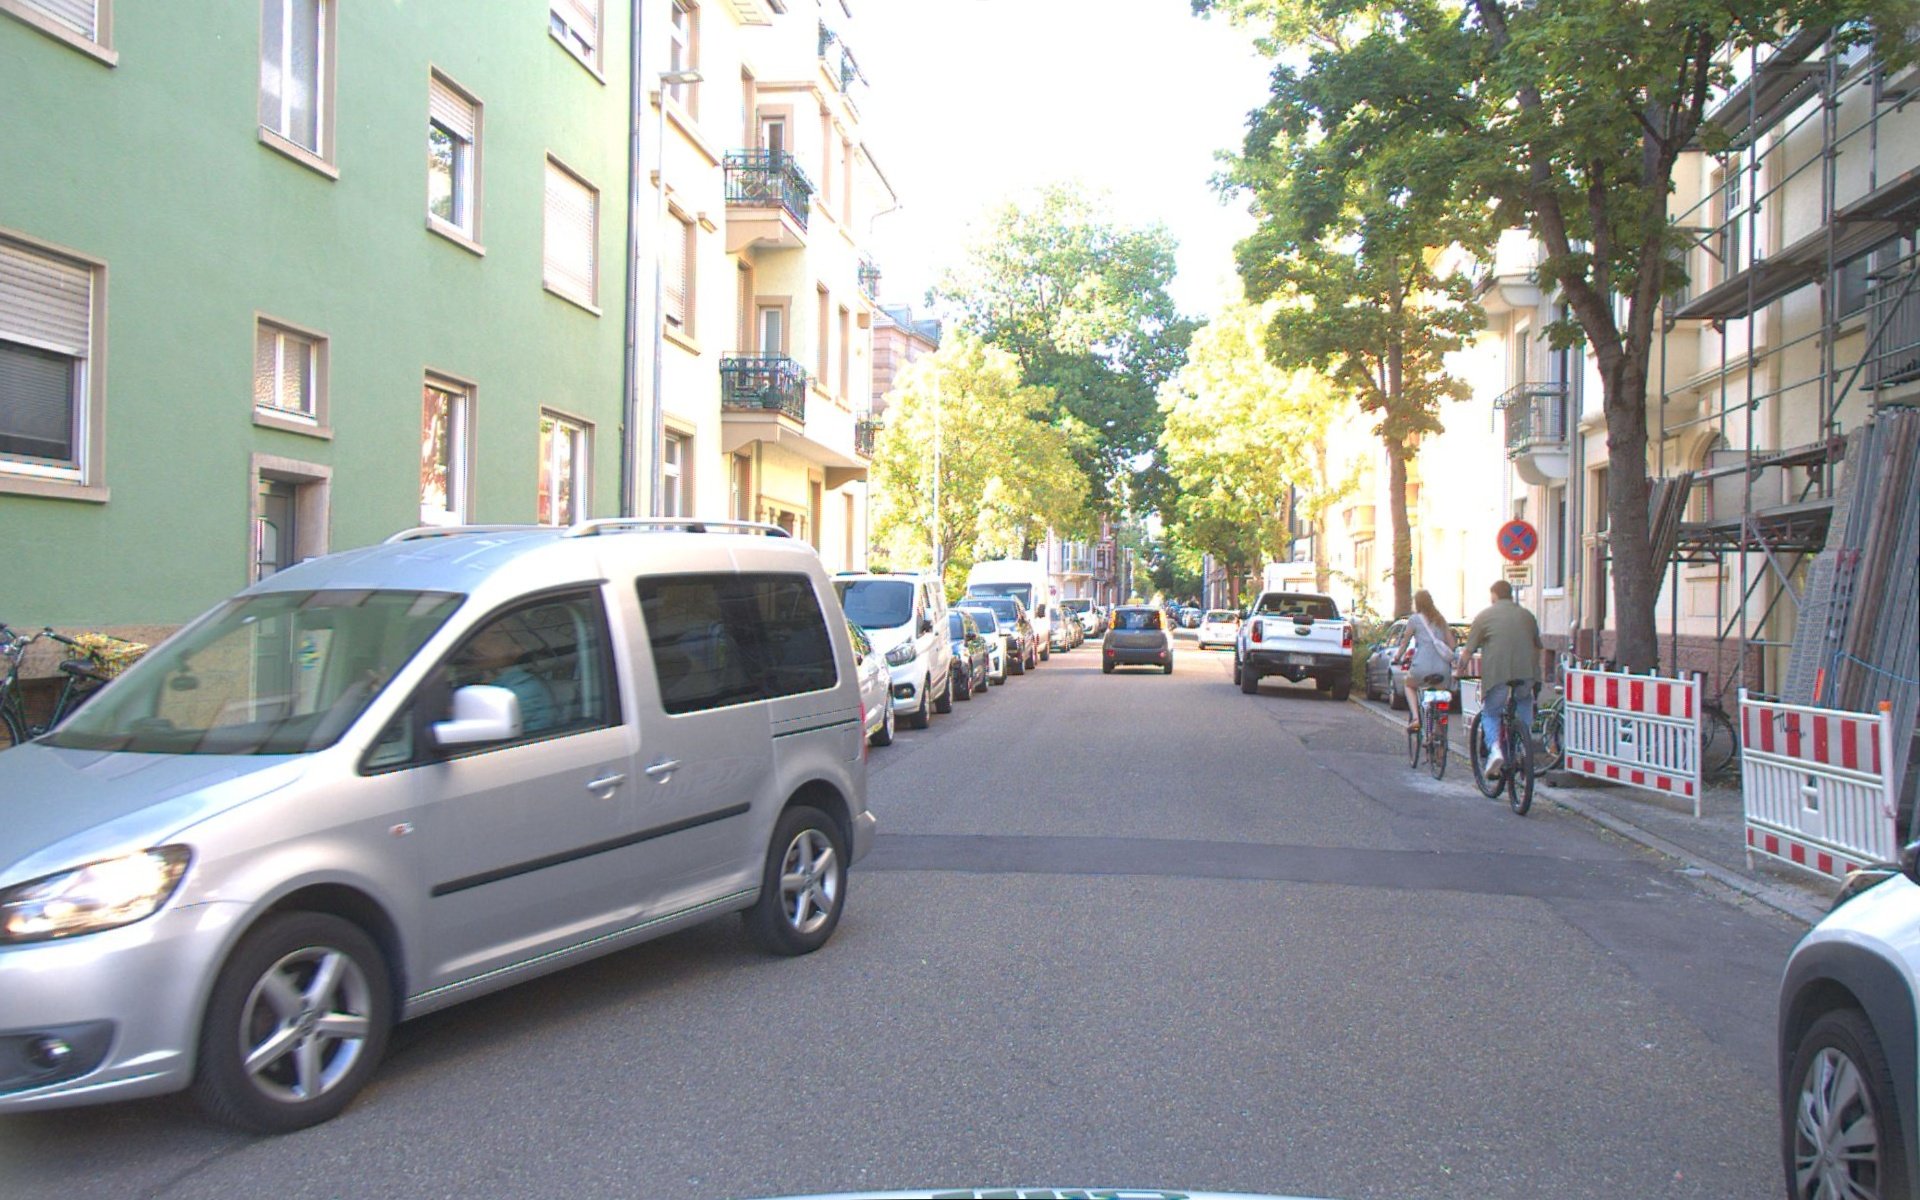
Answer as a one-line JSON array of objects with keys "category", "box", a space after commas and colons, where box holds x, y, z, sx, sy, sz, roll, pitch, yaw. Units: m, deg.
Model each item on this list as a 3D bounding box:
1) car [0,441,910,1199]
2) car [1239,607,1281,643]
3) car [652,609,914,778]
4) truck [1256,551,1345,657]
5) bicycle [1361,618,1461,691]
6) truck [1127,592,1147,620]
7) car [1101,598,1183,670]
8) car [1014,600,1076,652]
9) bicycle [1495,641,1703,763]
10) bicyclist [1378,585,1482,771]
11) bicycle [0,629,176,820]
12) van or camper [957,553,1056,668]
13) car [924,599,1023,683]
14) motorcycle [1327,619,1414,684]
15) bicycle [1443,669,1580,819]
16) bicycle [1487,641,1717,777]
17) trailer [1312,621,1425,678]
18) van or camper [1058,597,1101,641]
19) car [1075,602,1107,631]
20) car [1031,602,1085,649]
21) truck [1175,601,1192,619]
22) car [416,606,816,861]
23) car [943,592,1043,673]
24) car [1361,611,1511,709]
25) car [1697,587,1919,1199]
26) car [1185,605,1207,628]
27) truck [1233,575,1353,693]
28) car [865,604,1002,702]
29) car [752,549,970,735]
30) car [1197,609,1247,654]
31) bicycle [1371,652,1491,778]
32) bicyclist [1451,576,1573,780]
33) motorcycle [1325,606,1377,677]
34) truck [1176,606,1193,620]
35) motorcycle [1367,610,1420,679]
[{"category": "car", "box": [-2.034, 0.581, 6.270, 1.737, 1.875, 4.410, -2, -1, 27]}, {"category": "car", "box": [13.016, 1.087, 71.905, 1.562, 1.514, 3.751, 0, 0, 7]}, {"category": "car", "box": [-1.678, 0.865, 17.208, 1.794, 1.488, 4.366, -2, -1, 6]}, {"category": "truck", "box": [10.425, 0.130, 51.020, 2.029, 3.020, 6.113, -2, 0, 6]}, {"category": "bicycle", "box": [8.494, 1.012, 31.182, 1.721, 1.328, 0.586, 1, 0, 5]}, {"category": "truck", "box": [19.935, 0.646, 186.215, 2.026, 2.977, 5.072, -3, -1, 8]}, {"category": "car", "box": [4.245, 0.757, 38.282, 1.598, 1.577, 3.267, 0, 0, 11]}, {"category": "car", "box": [2.861, 0.824, 55.101, 1.742, 1.618, 4.472, -1, 0, 7]}, {"category": "bicycle", "box": [6.534, 1.027, 17.020, 1.935, 1.141, 0.748, 1, 0, 18]}, {"category": "bicyclist", "box": [4.561, 0.736, 16.109, 0.699, 1.718, 0.982, 3, 0, 4]}, {"category": "bicycle", "box": [-5.860, 0.756, 10.571, 0.476, 1.094, 1.971, 4, 0, 7]}, {"category": "van or camper", "box": [1.333, 0.274, 44.356, 2.083, 2.817, 5.856, -1, 0, 7]}, {"category": "car", "box": [0.333, 0.808, 33.546, 1.600, 1.579, 4.091, 0, -1, 6]}, {"category": "motorcycle", "box": [8.324, 1.037, 33.529, 1.742, 1.262, 0.695, 1, 0, -33]}, {"category": "bicycle", "box": [4.536, 1.147, 13.718, 0.723, 1.078, 1.859, 2, -1, 8]}, {"category": "bicycle", "box": [6.045, 0.994, 15.618, 1.891, 1.141, 0.744, 1, 0, 37]}, {"category": "trailer", "box": [8.595, 1.041, 34.863, 2.040, 1.131, 1.114, 1, 0, -7]}, {"category": "van or camper", "box": [5.950, 0.916, 81.980, 1.881, 2.014, 5.465, -2, -1, 6]}, {"category": "car", "box": [7.737, 0.979, 97.714, 1.786, 1.581, 4.136, -3, -1, 5]}, {"category": "car", "box": [3.657, 0.917, 61.259, 1.640, 1.600, 4.155, -2, 0, 8]}, {"category": "truck", "box": [26.880, 1.201, 199.156, 1.951, 2.027, 4.003, 1, 0, 7]}, {"category": "car", "box": [-2.275, 0.822, 12.216, 1.684, 1.488, 4.509, -2, 0, 4]}, {"category": "car", "box": [0.850, 0.713, 38.596, 1.835, 1.715, 4.973, -1, 0, 6]}, {"category": "car", "box": [7.757, 0.925, 27.310, 1.644, 1.447, 4.433, -1, 0, 7]}, {"category": "car", "box": [2.653, 0.781, 2.500, 1.764, 1.562, 3.967, 2, 0, 8]}, {"category": "car", "box": [18.641, 1.287, 130.817, 1.627, 1.698, 3.760, 2, 0, 8]}, {"category": "truck", "box": [6.174, 0.585, 31.206, 1.789, 1.983, 5.545, 1, 0, 7]}, {"category": "car", "box": [-0.369, 0.851, 28.836, 1.729, 1.548, 4.828, 0, 0, 7]}, {"category": "car", "box": [-1.201, 0.535, 22.838, 2.204, 2.206, 5.246, -2, -1, 5]}, {"category": "car", "box": [9.906, 1.174, 62.666, 1.643, 1.571, 3.803, 2, 0, 6]}, {"category": "bicycle", "box": [4.559, 1.088, 16.133, 0.691, 1.063, 1.859, 4, 0, 4]}, {"category": "bicyclist", "box": [4.546, 0.618, 13.687, 0.739, 1.592, 0.982, 2, 0, 8]}, {"category": "motorcycle", "box": [8.678, 0.890, 36.788, 0.910, 1.512, 2.140, 1, 0, 8]}, {"category": "truck", "box": [26.262, 1.516, 193.804, 1.951, 1.482, 4.003, 1, 0, 7]}, {"category": "motorcycle", "box": [9.598, 0.959, 36.701, 0.843, 1.441, 2.236, 2, 0, 8]}]
